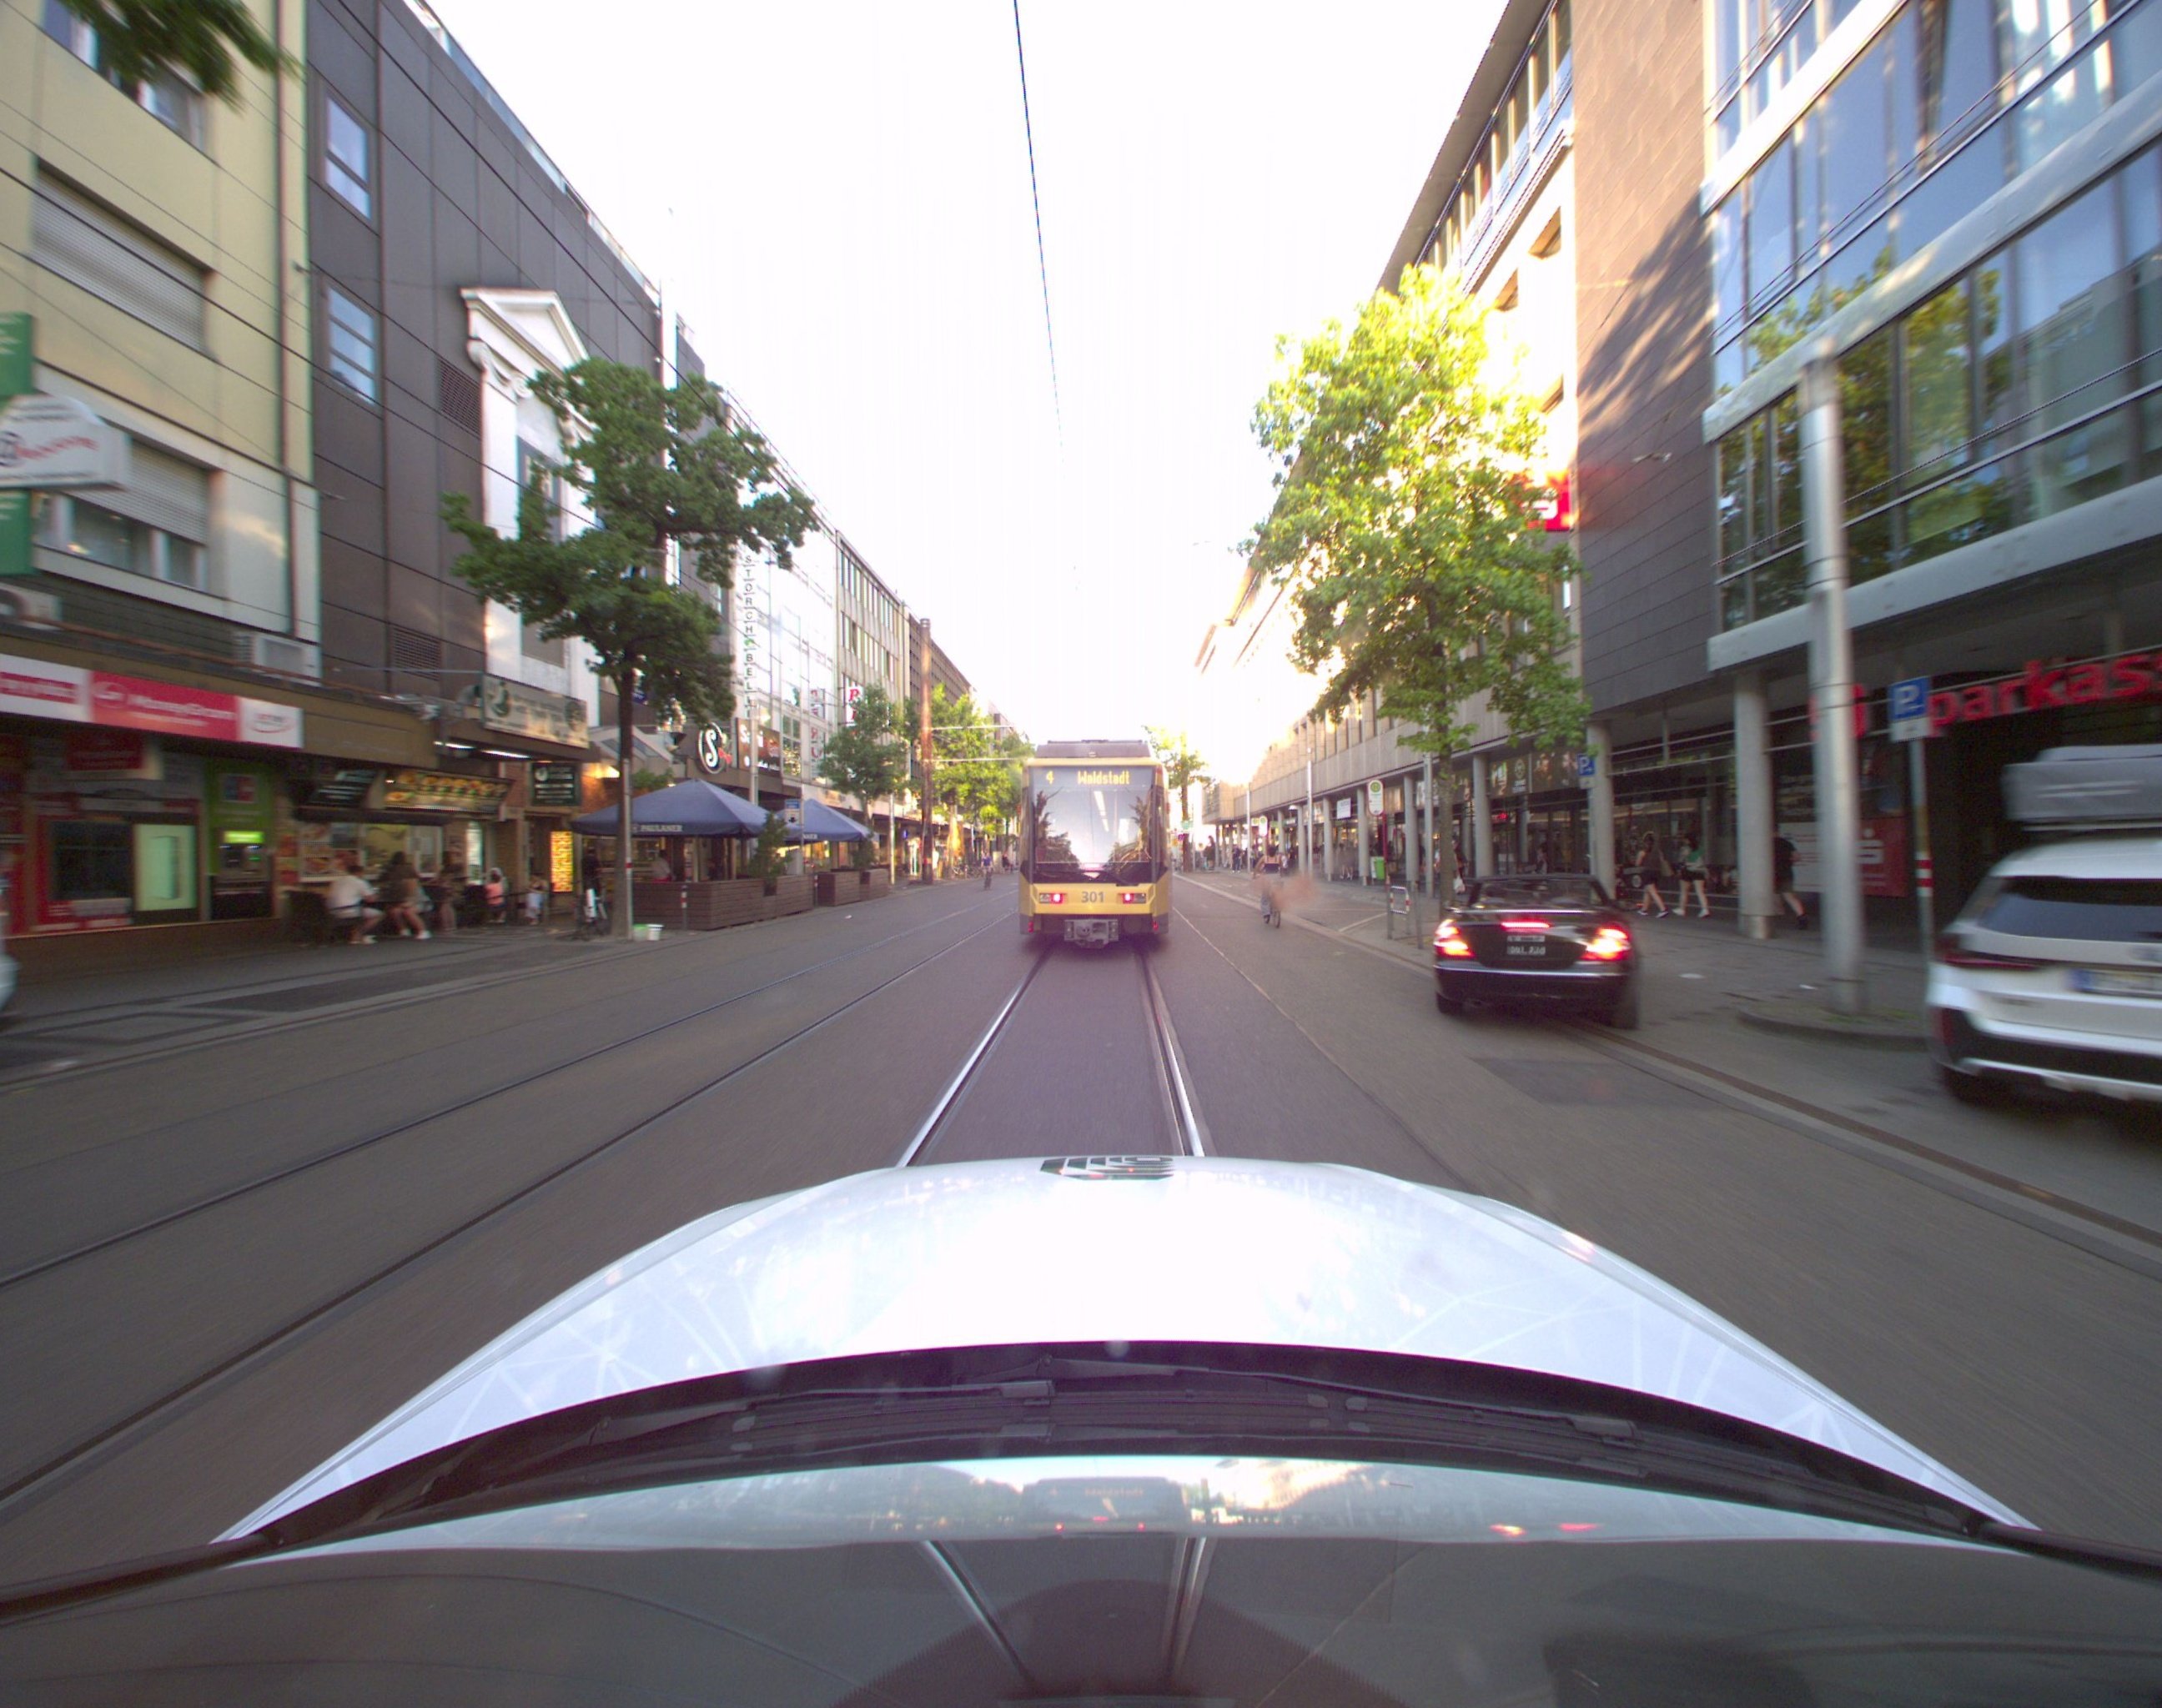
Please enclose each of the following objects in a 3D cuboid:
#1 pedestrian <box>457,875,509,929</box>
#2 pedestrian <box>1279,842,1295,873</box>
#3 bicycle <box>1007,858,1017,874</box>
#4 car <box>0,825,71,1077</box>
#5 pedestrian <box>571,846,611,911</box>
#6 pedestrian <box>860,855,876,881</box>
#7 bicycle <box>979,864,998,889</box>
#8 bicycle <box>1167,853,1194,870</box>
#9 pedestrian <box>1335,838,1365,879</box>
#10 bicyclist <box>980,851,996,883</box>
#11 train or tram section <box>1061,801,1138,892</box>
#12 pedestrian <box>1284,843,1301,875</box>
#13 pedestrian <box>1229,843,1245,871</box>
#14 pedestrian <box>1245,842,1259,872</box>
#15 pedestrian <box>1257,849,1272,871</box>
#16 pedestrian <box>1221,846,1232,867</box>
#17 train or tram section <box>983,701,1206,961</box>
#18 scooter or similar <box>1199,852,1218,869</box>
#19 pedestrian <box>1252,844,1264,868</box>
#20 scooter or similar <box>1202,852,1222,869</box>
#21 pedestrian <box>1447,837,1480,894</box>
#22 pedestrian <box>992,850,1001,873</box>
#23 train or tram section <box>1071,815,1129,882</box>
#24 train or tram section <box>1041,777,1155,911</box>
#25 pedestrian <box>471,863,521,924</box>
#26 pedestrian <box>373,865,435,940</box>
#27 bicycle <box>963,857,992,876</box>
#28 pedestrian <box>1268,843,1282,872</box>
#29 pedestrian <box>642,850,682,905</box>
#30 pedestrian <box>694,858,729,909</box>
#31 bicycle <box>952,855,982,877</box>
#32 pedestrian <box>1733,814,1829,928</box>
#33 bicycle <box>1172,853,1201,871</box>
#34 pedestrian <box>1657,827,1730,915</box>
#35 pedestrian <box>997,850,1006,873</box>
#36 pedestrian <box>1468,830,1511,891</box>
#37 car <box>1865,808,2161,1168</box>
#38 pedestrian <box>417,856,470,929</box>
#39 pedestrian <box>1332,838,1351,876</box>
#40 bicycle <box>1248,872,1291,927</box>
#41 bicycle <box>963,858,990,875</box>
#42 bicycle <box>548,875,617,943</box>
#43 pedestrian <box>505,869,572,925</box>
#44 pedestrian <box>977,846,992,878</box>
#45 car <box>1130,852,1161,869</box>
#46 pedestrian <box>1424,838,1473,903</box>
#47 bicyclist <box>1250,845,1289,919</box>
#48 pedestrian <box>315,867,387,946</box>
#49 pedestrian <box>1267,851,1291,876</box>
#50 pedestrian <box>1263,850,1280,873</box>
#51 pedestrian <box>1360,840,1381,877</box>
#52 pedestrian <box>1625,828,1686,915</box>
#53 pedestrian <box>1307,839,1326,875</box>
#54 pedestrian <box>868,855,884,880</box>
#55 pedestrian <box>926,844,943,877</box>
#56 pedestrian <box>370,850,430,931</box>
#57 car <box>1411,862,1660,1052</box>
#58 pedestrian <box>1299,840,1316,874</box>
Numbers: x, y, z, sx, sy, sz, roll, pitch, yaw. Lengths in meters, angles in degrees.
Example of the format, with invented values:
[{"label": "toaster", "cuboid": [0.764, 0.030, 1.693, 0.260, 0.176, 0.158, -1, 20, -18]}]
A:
[{"label": "pedestrian", "cuboid": [-11.786, 0.935, 16.061, 0.448, 1.029, 0.666, 2, -1, 32]}, {"label": "pedestrian", "cuboid": [12.654, 0.206, 49.987, 0.698, 1.839, 0.830, -3, 1, 2]}, {"label": "bicycle", "cuboid": [-5.184, 0.877, 60.980, 0.610, 1.126, 2.249, 2, -1, -3]}, {"label": "car", "cuboid": [-8.814, 0.666, 4.026, 1.786, 1.818, 4.520, 1, -1, 4]}, {"label": "pedestrian", "cuboid": [-12.221, 0.600, 20.314, 0.601, 1.597, 0.561, 1, -1, 4]}, {"label": "pedestrian", "cuboid": [-11.080, 0.733, 42.299, 0.571, 1.319, 0.726, 1, -1, 2]}, {"label": "bicycle", "cuboid": [-4.040, 0.971, 35.572, 0.639, 1.023, 1.588, 1, 0, 0]}, {"label": "bicycle", "cuboid": [8.829, 0.634, 72.263, 2.322, 1.472, 0.790, 0, -1, -2]}, {"label": "pedestrian", "cuboid": [12.603, 0.201, 38.194, 1.049, 1.876, 0.929, -3, 1, 2]}, {"label": "bicyclist", "cuboid": [-4.042, 0.563, 35.582, 0.618, 1.416, 0.700, 0, -1, -1]}, {"label": "train or tram section", "cuboid": [0.869, -0.284, 37.351, 2.992, 3.523, 10.848, -1, 0, 1]}, {"label": "pedestrian", "cuboid": [11.254, 0.275, 43.308, 0.698, 1.637, 0.646, -3, 1, 2]}, {"label": "pedestrian", "cuboid": [10.215, 0.193, 53.320, 0.885, 1.782, 0.751, 0, -1, 0]}, {"label": "pedestrian", "cuboid": [10.499, 0.191, 50.105, 0.745, 1.782, 0.892, 0, -1, 5]}, {"label": "pedestrian", "cuboid": [11.332, 0.385, 50.326, 0.736, 1.328, 0.721, -3, 1, 3]}, {"label": "pedestrian", "cuboid": [12.127, 0.207, 67.929, 0.698, 1.684, 0.681, -3, 1, 2]}, {"label": "train or tram section", "cuboid": [0.320, -0.297, 16.342, 3.005, 3.523, 10.373, -1, 0, 1]}, {"label": "scooter or similar", "cuboid": [9.953, 0.517, 63.595, 1.378, 1.250, 0.555, -2, -1, -6]}, {"label": "pedestrian", "cuboid": [12.901, 0.127, 59.293, 0.698, 1.684, 0.681, -3, 1, 2]}, {"label": "scooter or similar", "cuboid": [10.084, 0.512, 62.700, 1.380, 1.210, 0.513, -2, -1, -12]}, {"label": "pedestrian", "cuboid": [11.292, 0.329, 24.064, 0.594, 1.616, 0.756, -3, 1, 2]}, {"label": "pedestrian", "cuboid": [-6.432, 0.566, 62.094, 0.573, 1.687, 0.551, 2, -1, -8]}, {"label": "train or tram section", "cuboid": [1.157, -0.290, 48.043, 3.033, 3.523, 10.534, 0, 0, 1]}, {"label": "train or tram section", "cuboid": [0.585, -0.274, 26.726, 2.996, 3.523, 10.405, 0, 0, 1]}, {"label": "pedestrian", "cuboid": [-12.372, 0.829, 17.223, 0.556, 1.258, 0.607, 1, -1, 6]}, {"label": "pedestrian", "cuboid": [-11.859, 0.836, 14.275, 0.520, 1.256, 0.587, 2, -1, 2]}, {"label": "bicycle", "cuboid": [-6.670, 0.819, 52.544, 1.730, 1.126, 0.612, 2, -1, -5]}, {"label": "pedestrian", "cuboid": [12.794, 0.242, 53.654, 0.698, 1.839, 0.830, -3, 1, 2]}, {"label": "pedestrian", "cuboid": [-10.040, 0.557, 19.514, 0.601, 1.256, 0.561, 2, -1, 4]}, {"label": "pedestrian", "cuboid": [-9.418, 0.734, 20.761, 0.556, 1.256, 0.606, 2, -1, 3]}, {"label": "bicycle", "cuboid": [-7.129, 0.746, 50.798, 1.797, 1.360, 0.658, 2, -1, -11]}, {"label": "pedestrian", "cuboid": [11.503, 0.270, 13.413, 0.874, 1.782, 0.756, -3, 1, 1]}, {"label": "bicycle", "cuboid": [8.807, 0.652, 68.169, 2.322, 1.472, 0.790, 0, -1, -2]}, {"label": "pedestrian", "cuboid": [11.774, 0.310, 15.679, 0.594, 1.616, 1.022, -3, 1, 2]}, {"label": "pedestrian", "cuboid": [-6.003, 0.552, 61.438, 0.549, 1.687, 0.575, 2, -1, -2]}, {"label": "pedestrian", "cuboid": [12.702, 0.179, 25.345, 0.829, 1.836, 0.944, -2, 1, 2]}, {"label": "car", "cuboid": [6.932, 0.568, 5.017, 4.221, 1.637, 1.902, -4, 1, -30]}, {"label": "pedestrian", "cuboid": [-12.321, 0.729, 15.754, 0.440, 1.373, 0.608, 2, -1, 12]}, {"label": "pedestrian", "cuboid": [12.672, 0.134, 39.613, 0.594, 1.839, 0.830, -3, 1, 2]}, {"label": "bicycle", "cuboid": [4.020, 0.940, 17.474, 0.652, 1.060, 2.061, 1, 0, 6]}, {"label": "bicycle", "cuboid": [-7.073, 0.847, 54.985, 1.728, 1.126, 0.563, 2, -1, -2]}, {"label": "bicycle", "cuboid": [-9.378, 0.987, 15.407, 0.815, 1.103, 2.149, -1, 1, -24]}, {"label": "pedestrian", "cuboid": [-11.511, 0.895, 17.298, 0.816, 1.120, 0.780, 2, 0, 12]}, {"label": "pedestrian", "cuboid": [-5.681, 0.457, 47.900, 0.749, 1.880, 0.575, 2, -1, -2]}, {"label": "car", "cuboid": [6.353, 0.626, 79.988, 1.627, 1.594, 3.942, -1, -1, 26]}, {"label": "pedestrian", "cuboid": [9.149, 0.386, 20.301, 0.874, 1.581, 0.756, 0, 1, 1]}, {"label": "bicyclist", "cuboid": [4.014, 0.584, 17.380, 0.723, 1.527, 0.734, 1, -1, 6]}, {"label": "pedestrian", "cuboid": [-11.910, 0.838, 13.309, 0.509, 1.242, 0.661, 2, -1, 2]}, {"label": "pedestrian", "cuboid": [10.884, 0.525, 44.758, 1.107, 1.328, 0.927, -3, 0, 2]}, {"label": "pedestrian", "cuboid": [11.343, 0.429, 48.518, 0.803, 1.328, 0.626, -3, 1, 2]}, {"label": "pedestrian", "cuboid": [12.851, 0.180, 36.192, 0.594, 1.616, 0.830, -3, 1, 2]}, {"label": "pedestrian", "cuboid": [11.124, 0.319, 15.790, 0.594, 1.616, 0.756, -3, 1, 1]}, {"label": "pedestrian", "cuboid": [12.480, 0.155, 43.122, 0.698, 1.839, 0.830, -3, 1, 2]}, {"label": "pedestrian", "cuboid": [-10.967, 0.739, 43.608, 0.571, 1.319, 0.726, 1, -1, 2]}, {"label": "pedestrian", "cuboid": [-9.151, 0.390, 50.753, 0.845, 2.014, 0.922, 0, -1, 2]}, {"label": "pedestrian", "cuboid": [-12.503, 0.663, 14.956, 0.607, 1.433, 0.512, 2, -1, 5]}, {"label": "car", "cuboid": [4.842, 0.836, 8.711, 1.784, 1.348, 4.474, -1, 1, 30]}, {"label": "pedestrian", "cuboid": [12.424, 0.149, 44.707, 0.698, 1.839, 0.706, -3, 1, 2]}]
